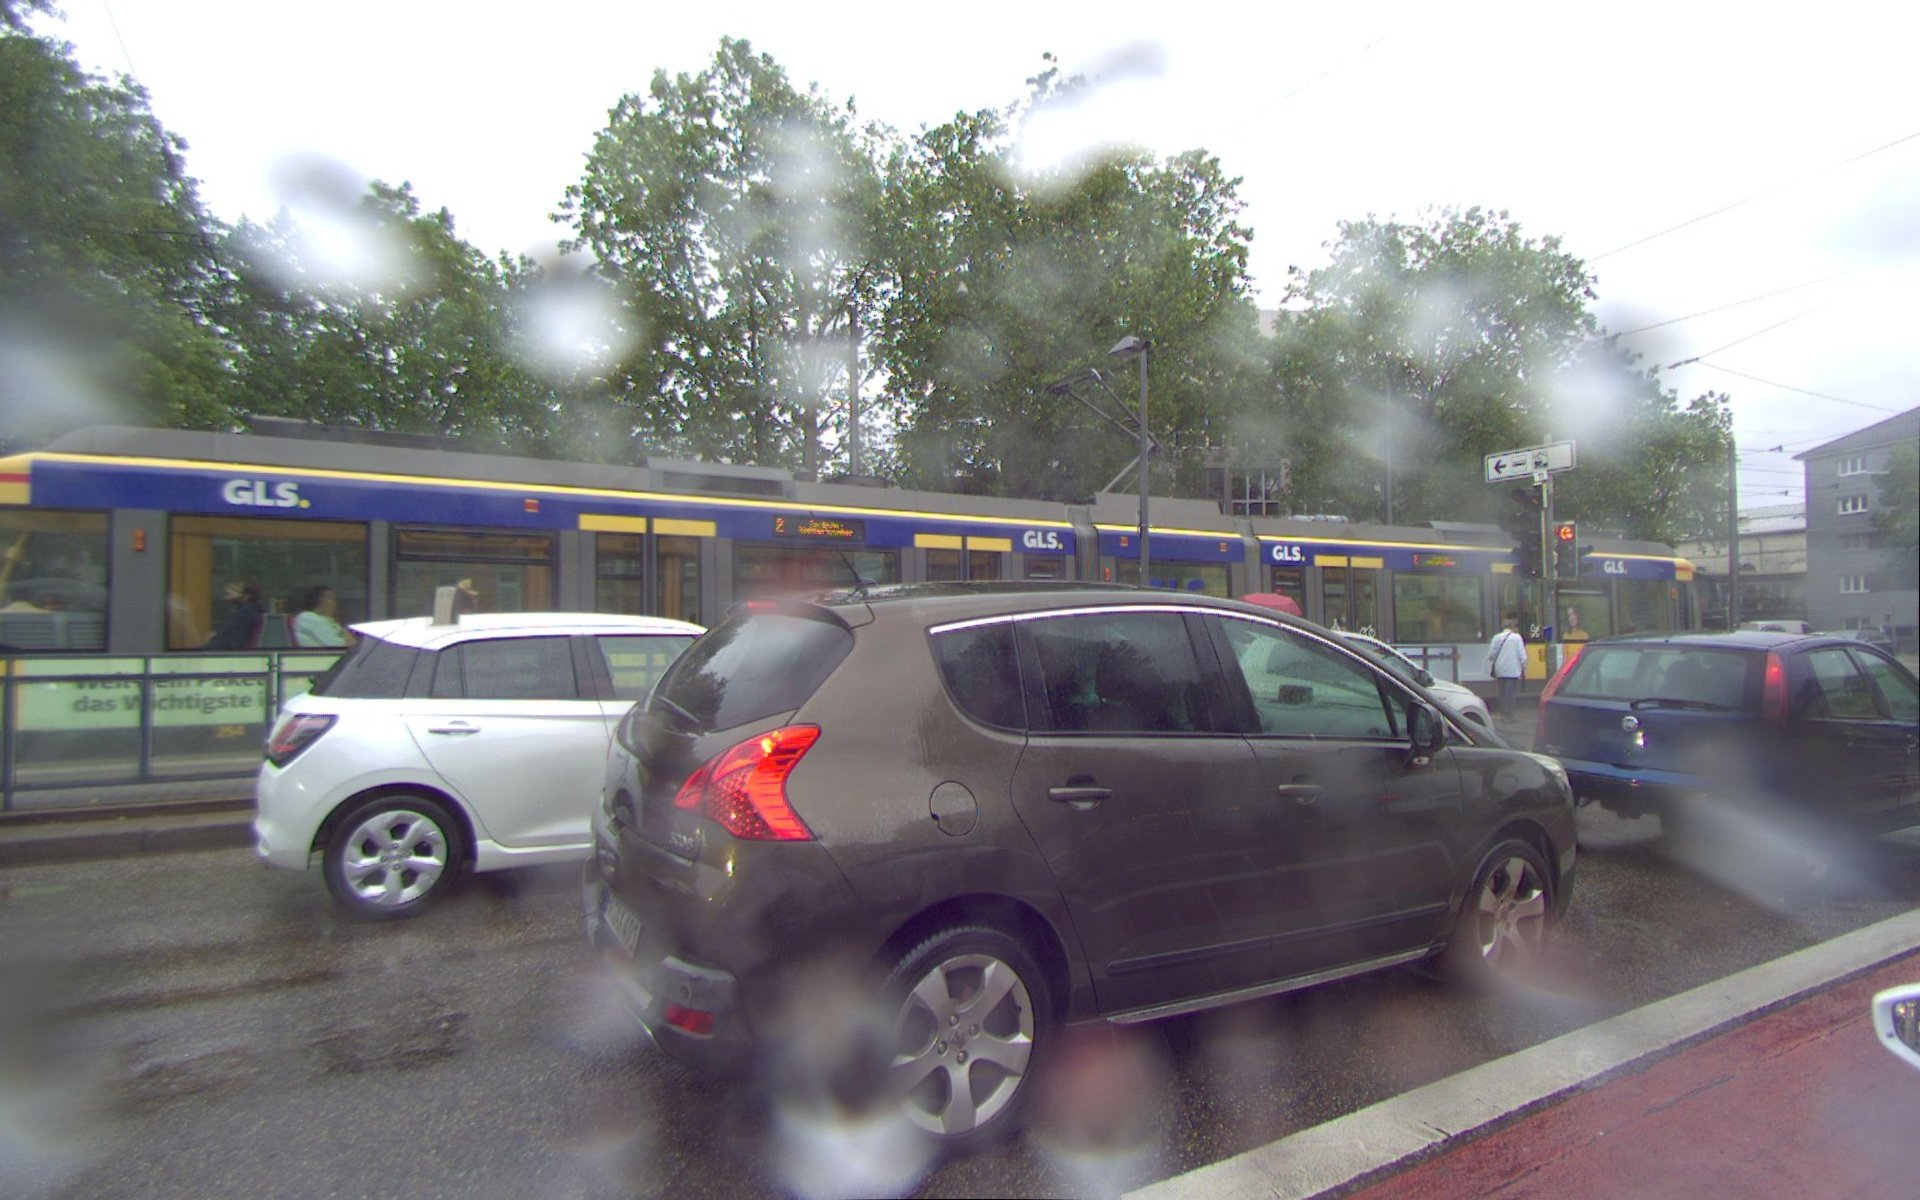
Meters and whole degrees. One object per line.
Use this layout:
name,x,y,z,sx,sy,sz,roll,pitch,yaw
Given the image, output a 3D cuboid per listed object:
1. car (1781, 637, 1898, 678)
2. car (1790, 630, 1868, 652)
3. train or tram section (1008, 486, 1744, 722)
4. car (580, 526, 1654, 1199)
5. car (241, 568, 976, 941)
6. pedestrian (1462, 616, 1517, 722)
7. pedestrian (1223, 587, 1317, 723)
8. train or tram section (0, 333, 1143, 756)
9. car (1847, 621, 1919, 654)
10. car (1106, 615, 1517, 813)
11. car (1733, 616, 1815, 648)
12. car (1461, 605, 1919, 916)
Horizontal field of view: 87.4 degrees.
car,38.439,2.467,43.924,3.931,1.629,1.952,0,0,-13
car,61.328,2.885,70.902,3.922,1.516,1.960,0,0,-3
train or tram section,8.572,0.224,19.434,15.286,3.458,3.532,2,0,-24
car,0.780,0.724,4.110,4.124,1.690,1.825,1,-1,-30
car,-1.939,0.741,6.130,3.791,1.650,1.637,1,-2,-30
pedestrian,8.401,1.070,15.926,0.617,1.628,0.738,1,0,40
pedestrian,4.193,0.734,13.600,0.888,1.769,0.762,0,-3,-30
train or tram section,-4.008,-0.357,12.909,13.500,3.559,3.496,1,0,-31
car,60.867,2.429,65.748,3.923,2.040,1.999,1,0,-3
car,3.356,0.934,9.441,3.737,1.514,1.621,1,-1,-30
car,59.654,2.323,73.643,4.698,2.228,1.998,0,1,-6
car,5.391,0.874,6.896,3.776,1.599,1.719,1,-1,-30
